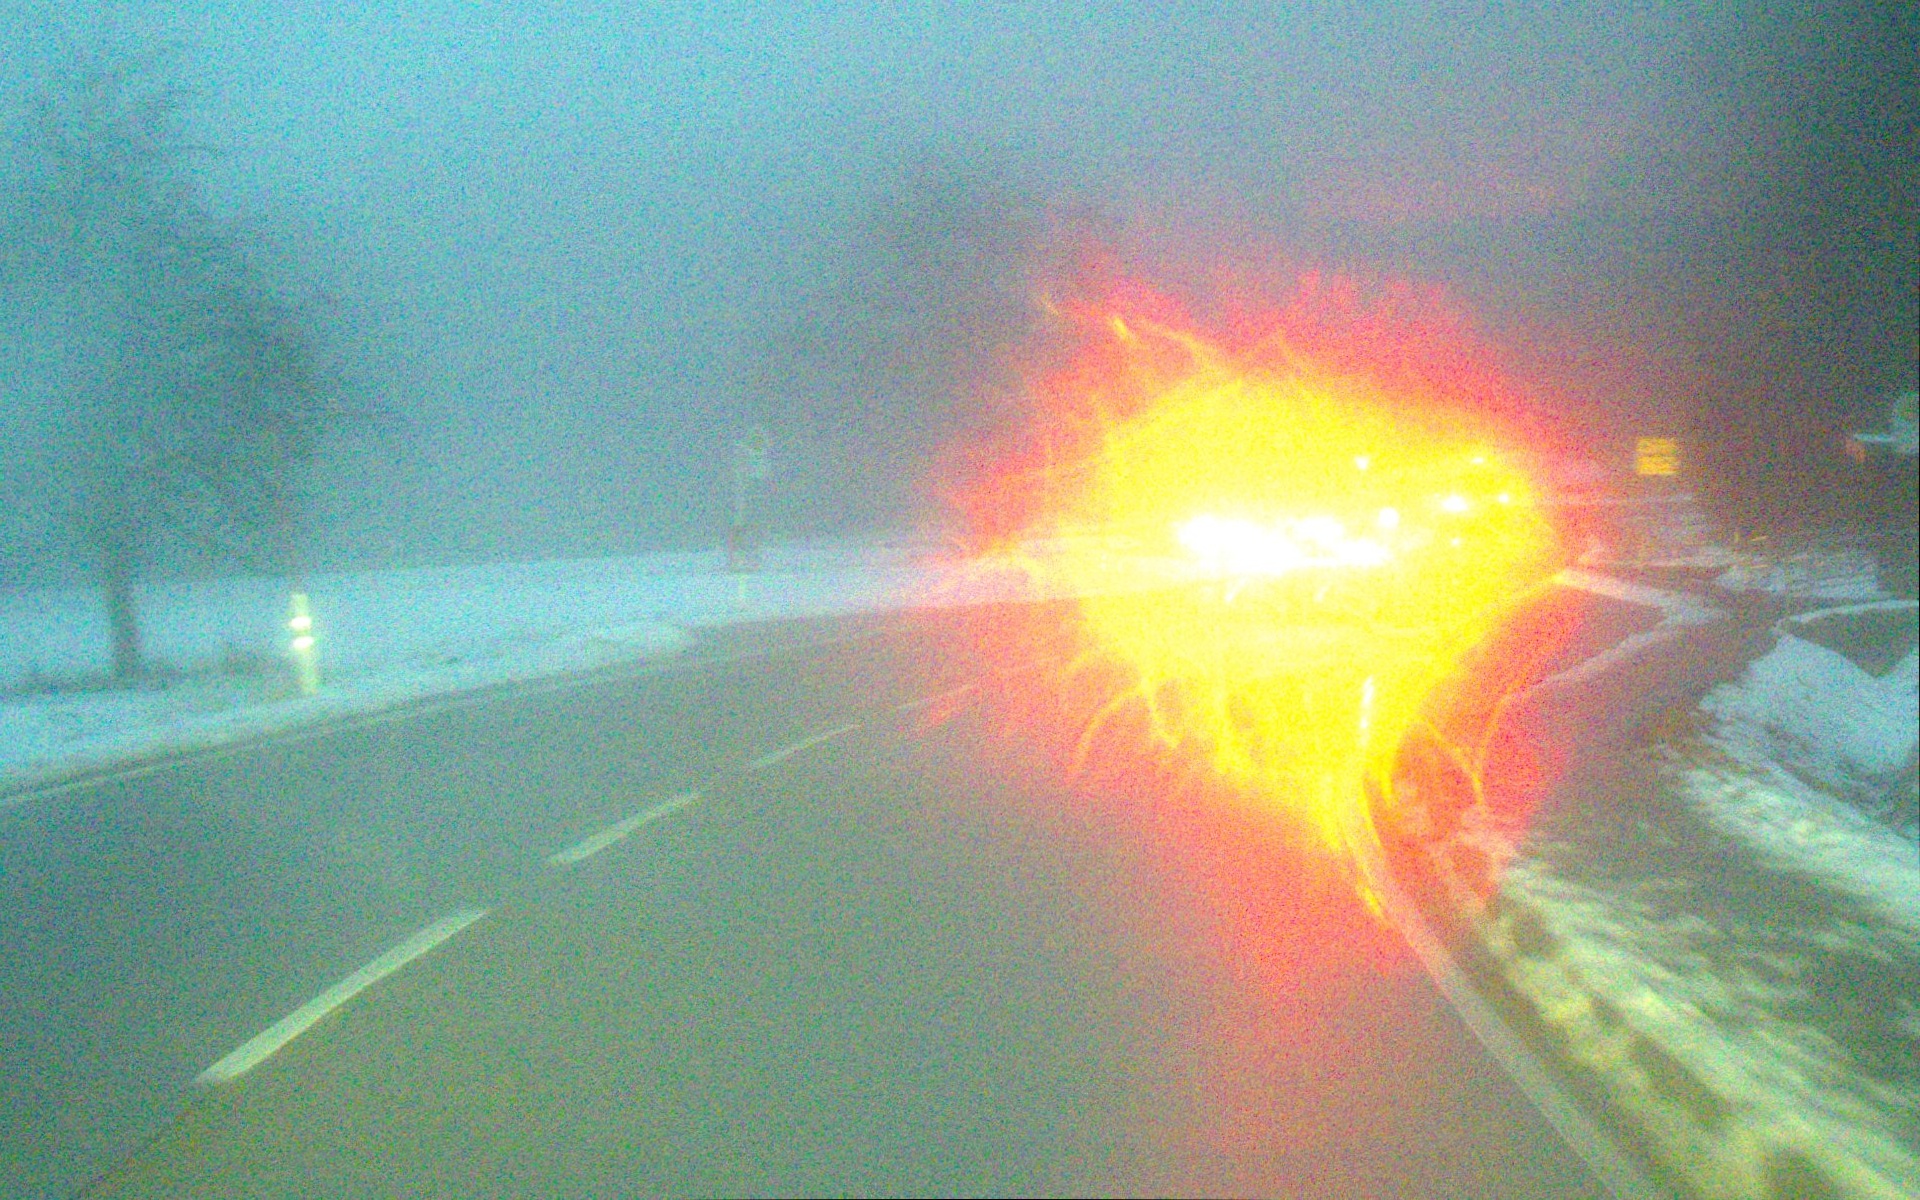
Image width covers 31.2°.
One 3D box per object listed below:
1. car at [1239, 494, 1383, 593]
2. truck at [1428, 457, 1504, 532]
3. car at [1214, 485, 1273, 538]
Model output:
[{"bbox_3d":[5.270,-0.865,51.190,1.922,1.272,3.999,-1,3,9],"label":"car"},{"bbox_3d":[19.130,-4.004,130.063,2.075,2.736,5.320,-1,2,0],"label":"truck"},{"bbox_3d":[9.553,-3.003,116.153,1.752,1.687,4.426,-3,2,2],"label":"car"}]
